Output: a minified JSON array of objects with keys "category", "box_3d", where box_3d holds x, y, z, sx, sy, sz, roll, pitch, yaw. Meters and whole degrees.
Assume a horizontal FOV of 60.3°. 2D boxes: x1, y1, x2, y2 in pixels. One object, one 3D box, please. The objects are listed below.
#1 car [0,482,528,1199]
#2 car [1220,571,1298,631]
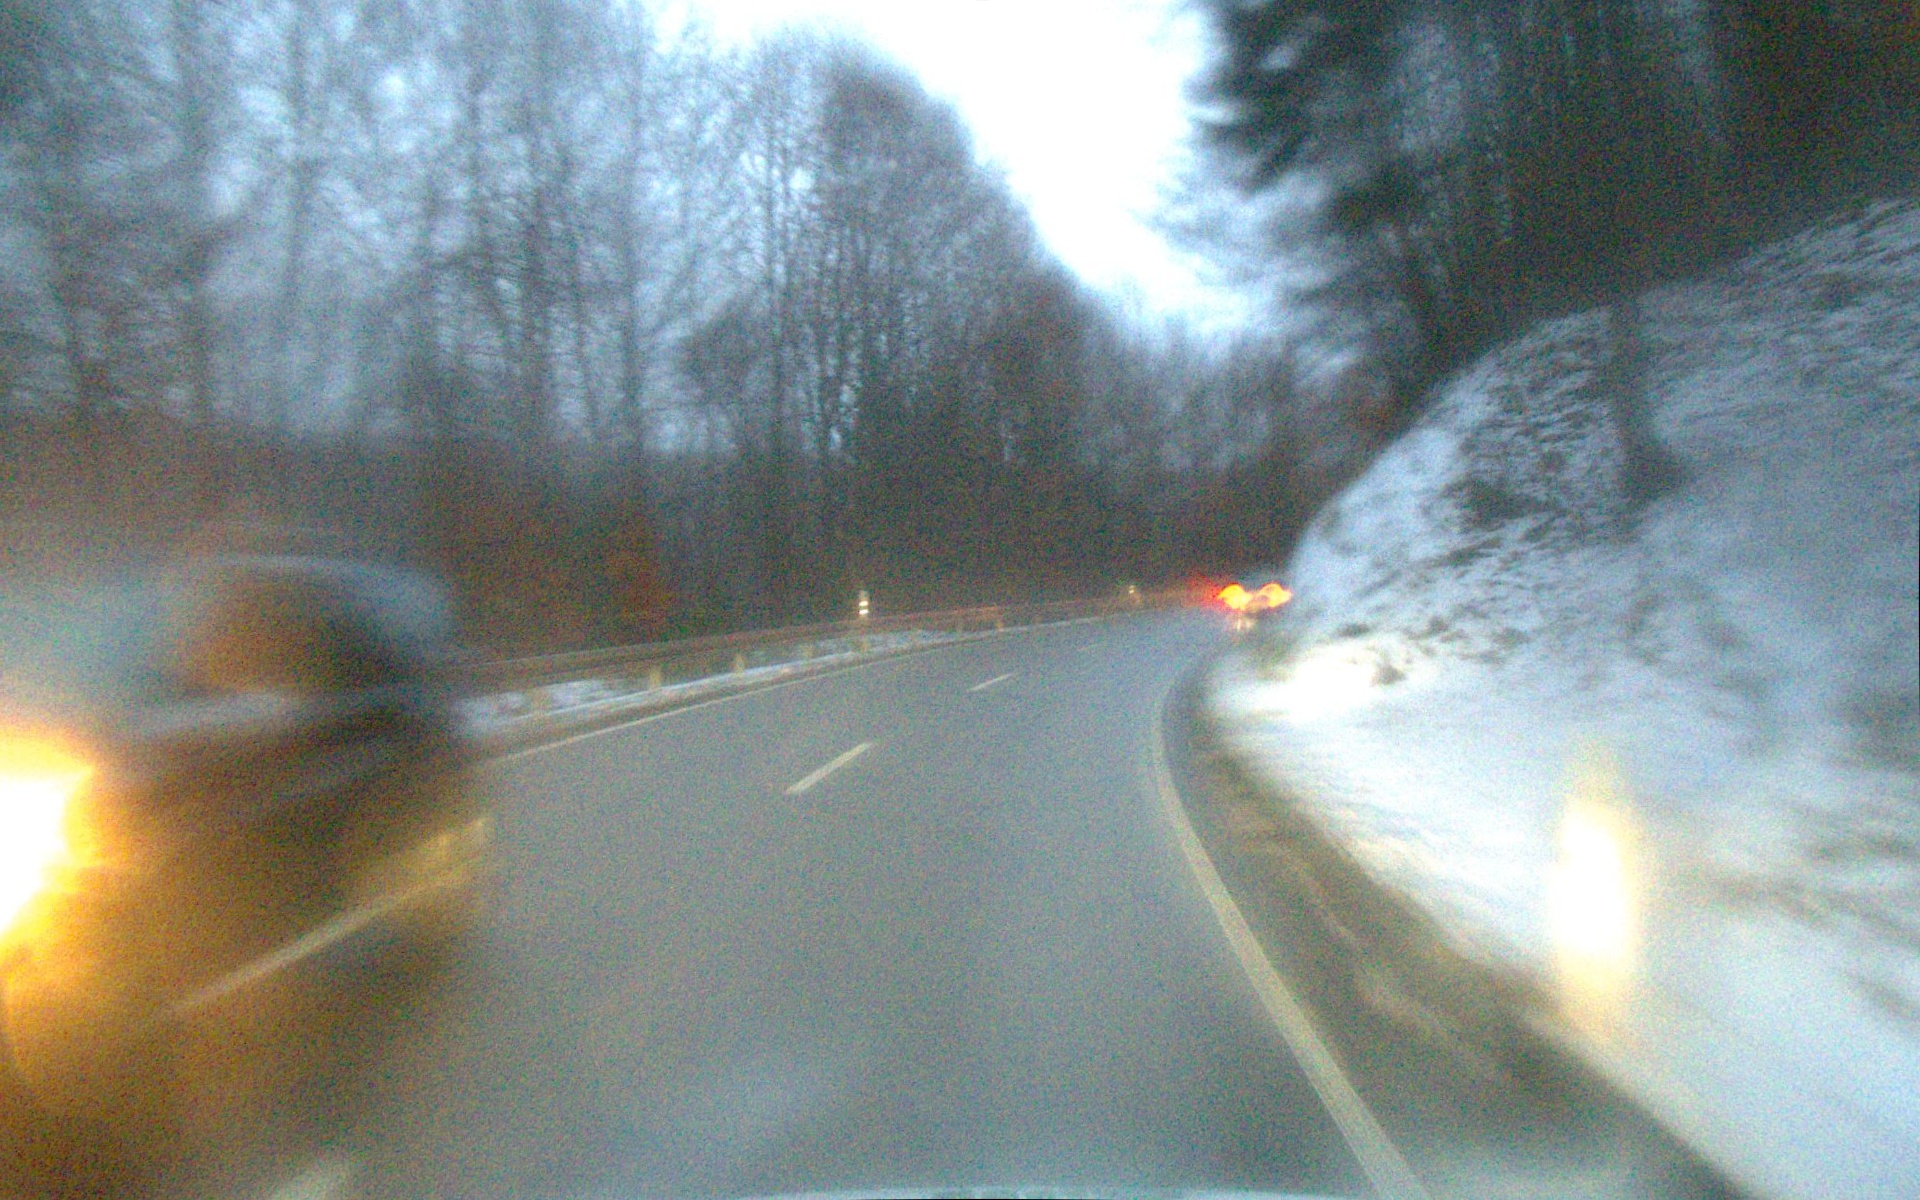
[{"category":"car","box_3d":[-2.726,0.582,5.076,1.686,1.658,4.000,1,0,1]},{"category":"car","box_3d":[9.943,0.030,54.733,1.952,1.905,4.002,-1,0,19]}]
